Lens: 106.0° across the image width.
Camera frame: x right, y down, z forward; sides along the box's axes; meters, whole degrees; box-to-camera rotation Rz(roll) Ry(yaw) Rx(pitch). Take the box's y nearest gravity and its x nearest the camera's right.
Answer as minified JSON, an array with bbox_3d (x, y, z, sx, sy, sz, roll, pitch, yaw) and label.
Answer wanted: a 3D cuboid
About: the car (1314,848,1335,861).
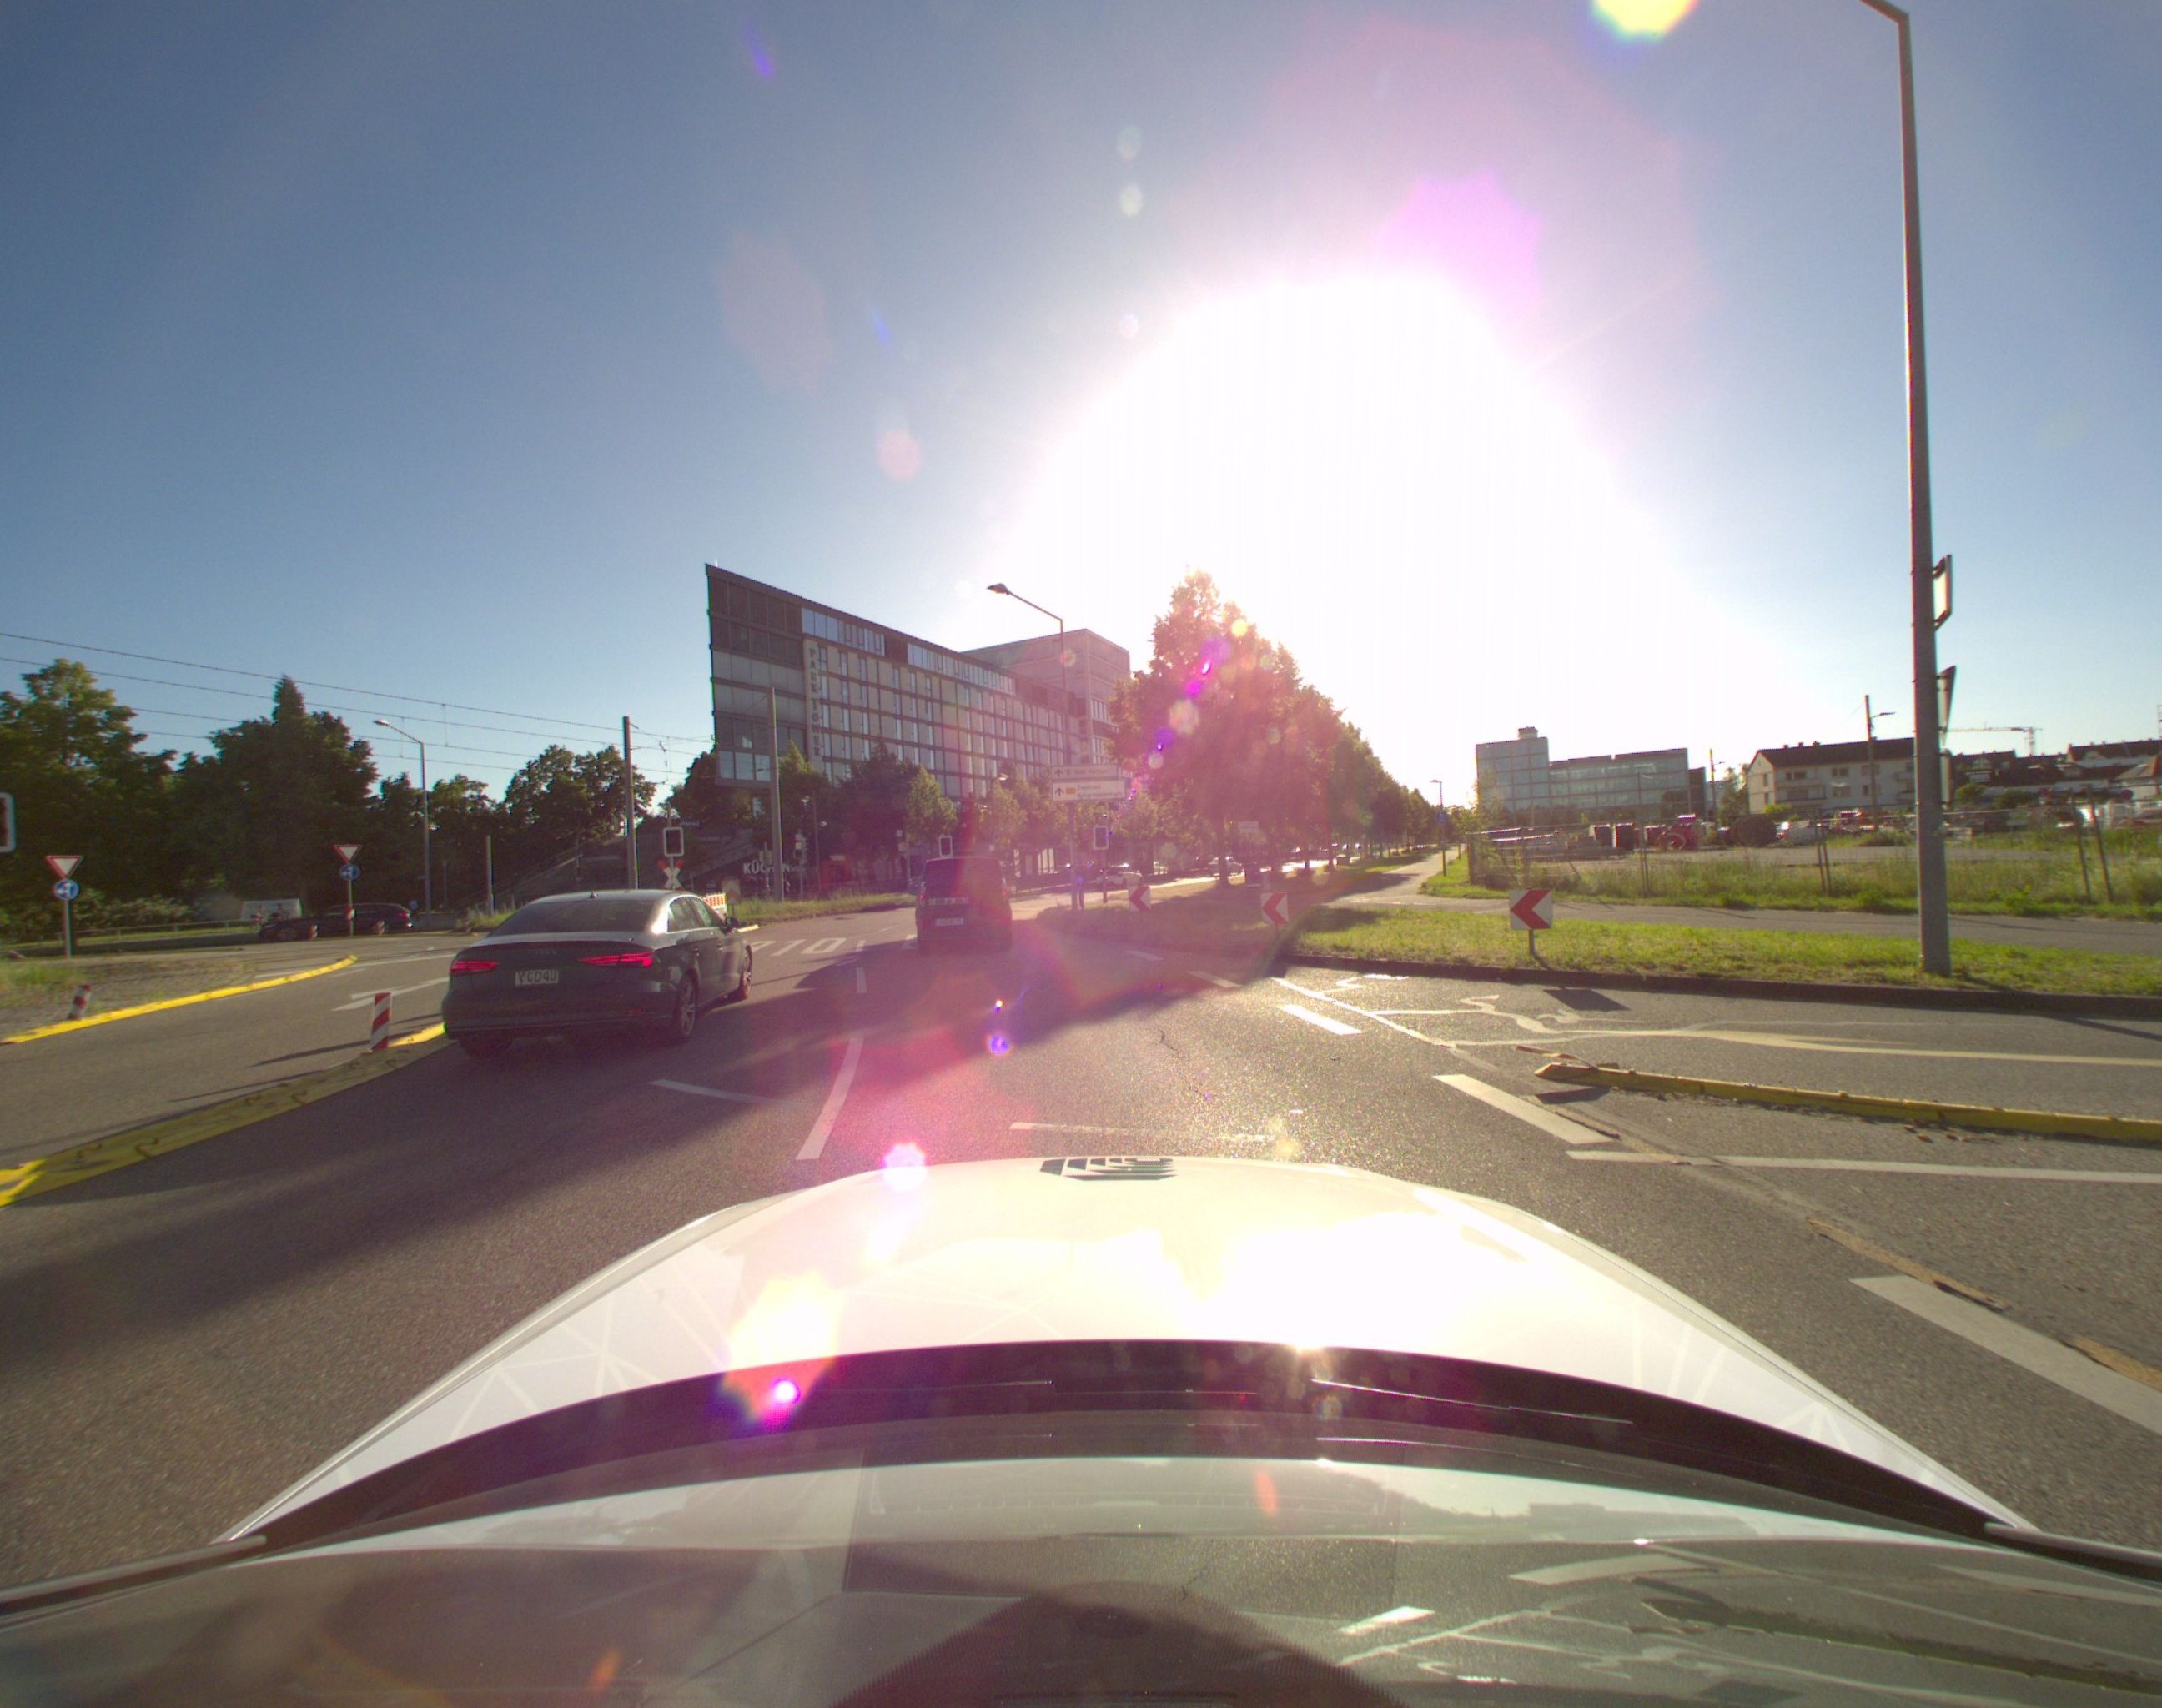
[{"bbox_3d":[33.880,-0.001,113.224,1.975,1.575,4.434,-3,0,26],"label":"car"}]

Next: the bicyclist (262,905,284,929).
[{"bbox_3d":[-50.706,3.960,51.110,0.612,1.392,0.720,-3,0,6],"label":"bicyclist"}]

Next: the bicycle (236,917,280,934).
[{"bbox_3d":[-51.627,4.470,51.110,0.612,0.852,1.892,-3,0,6],"label":"bicycle"}]

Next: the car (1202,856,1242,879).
[{"bbox_3d":[11.660,1.082,67.025,1.975,1.575,4.435,-3,0,26],"label":"car"}]

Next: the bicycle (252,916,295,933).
[{"bbox_3d":[-50.655,4.445,51.092,0.612,0.852,1.892,-3,0,6],"label":"bicycle"}]

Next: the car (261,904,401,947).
[{"bbox_3d":[-33.685,3.167,36.753,4.514,1.487,1.716,-2,0,-41],"label":"car"}]

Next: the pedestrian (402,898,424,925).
[{"bbox_3d":[-42.376,3.628,51.676,0.874,1.629,0.766,-3,0,30],"label":"pedestrian"}]

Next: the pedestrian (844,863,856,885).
[{"bbox_3d":[-21.986,1.925,77.529,0.632,2.013,0.839,-3,0,28],"label":"pedestrian"}]

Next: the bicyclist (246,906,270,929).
[{"bbox_3d":[-51.673,3.986,51.133,0.612,1.392,0.839,-3,0,6],"label":"bicyclist"}]

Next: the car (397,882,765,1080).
[{"bbox_3d":[-4.636,1.027,8.392,1.761,1.380,4.341,-3,-2,-11],"label":"car"}]

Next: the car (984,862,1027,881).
[{"bbox_3d":[-6.864,1.590,74.604,1.915,1.575,4.001,-3,0,29],"label":"car"}]

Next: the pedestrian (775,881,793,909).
[{"bbox_3d":[-16.042,2.194,44.030,0.549,1.466,0.681,-2,0,24],"label":"pedestrian"}]

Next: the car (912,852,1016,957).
[{"bbox_3d":[-2.461,0.943,16.397,1.804,1.814,3.793,-1,-1,-12],"label":"car"}]

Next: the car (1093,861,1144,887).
[{"bbox_3d":[2.340,1.203,49.893,1.786,1.461,3.832,-1,0,25],"label":"car"}]

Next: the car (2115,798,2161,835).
[{"bbox_3d":[60.426,-2.091,45.081,1.976,2.013,4.524,-1,1,22],"label":"car"}]

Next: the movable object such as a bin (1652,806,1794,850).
[{"bbox_3d":[47.675,-1.899,60.816,7.831,2.782,2.962,-3,0,29],"label":"movable object such as a bin"}]

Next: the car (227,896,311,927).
[{"bbox_3d":[-58.056,4.114,58.324,3.743,1.805,1.827,-3,0,-19],"label":"car"}]
